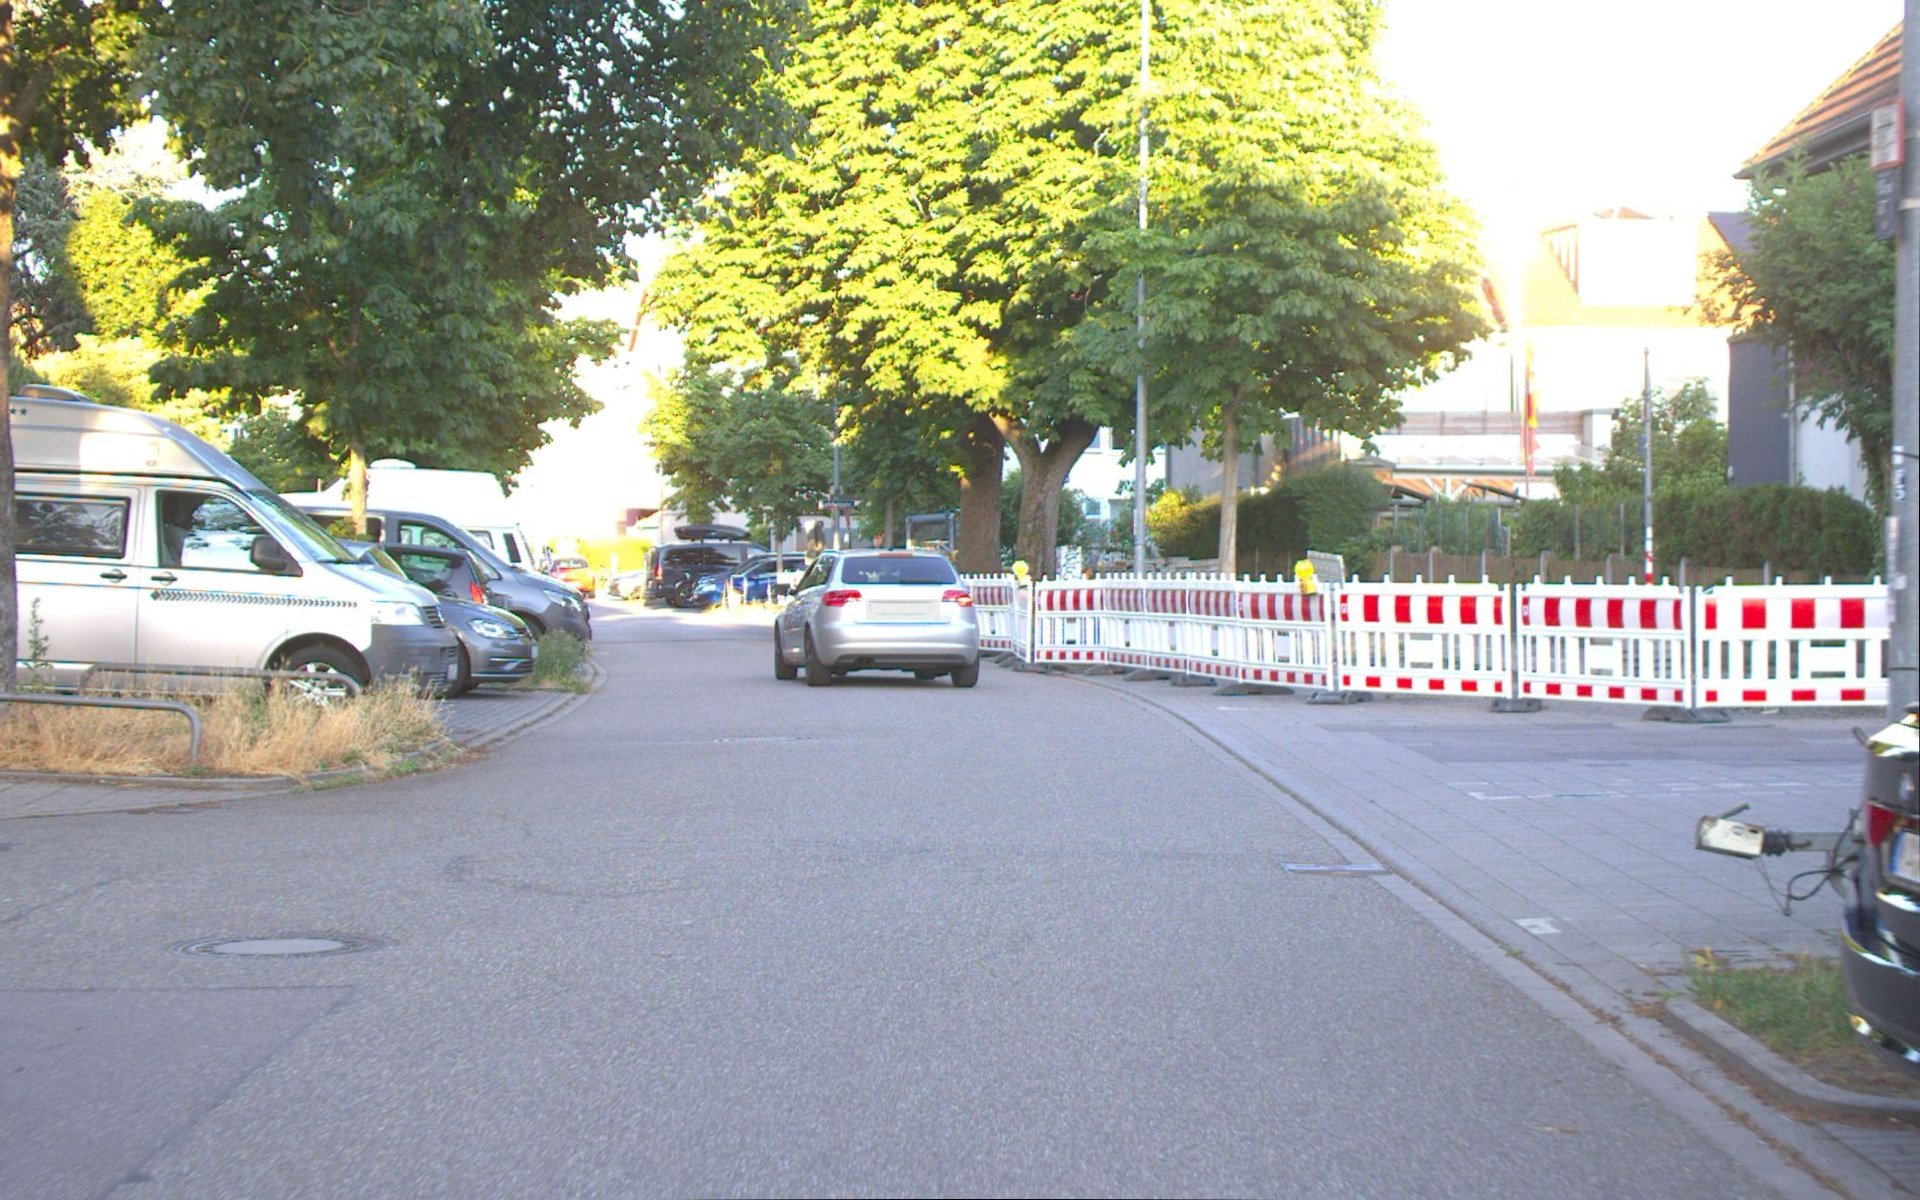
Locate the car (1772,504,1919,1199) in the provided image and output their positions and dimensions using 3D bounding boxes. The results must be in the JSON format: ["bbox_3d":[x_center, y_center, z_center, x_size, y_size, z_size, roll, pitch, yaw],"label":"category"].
[{"bbox_3d":[4.205,0.563,7.524,4.427,1.494,1.773,1,1,1],"label":"car"}]

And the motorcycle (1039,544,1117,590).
[{"bbox_3d":[2.899,-0.805,84.210,1.840,1.102,0.581,0,1,-24],"label":"motorcycle"}]

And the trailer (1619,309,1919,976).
[{"bbox_3d":[4.535,0.144,12.238,3.987,2.180,2.000,1,1,1],"label":"trailer"}]

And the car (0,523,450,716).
[{"bbox_3d":[-6.475,0.158,30.015,3.803,1.517,1.653,2,0,-3],"label":"car"}]

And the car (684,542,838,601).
[{"bbox_3d":[-5.632,-0.806,97.185,3.986,1.645,1.765,0,1,-19],"label":"car"}]

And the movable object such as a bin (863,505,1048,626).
[{"bbox_3d":[-0.149,-0.710,70.807,2.627,2.394,5.199,0,1,-14],"label":"movable object such as a bin"}]

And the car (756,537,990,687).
[{"bbox_3d":[-0.971,0.099,36.075,1.807,1.483,4.001,0,1,-11],"label":"car"}]

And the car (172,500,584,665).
[{"bbox_3d":[-6.799,-0.208,40.558,4.672,1.867,2.000,0,1,-7],"label":"car"}]

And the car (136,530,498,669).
[{"bbox_3d":[-7.046,-0.009,37.947,3.768,1.434,1.656,1,0,-5],"label":"car"}]

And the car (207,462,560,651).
[{"bbox_3d":[-7.586,-0.570,45.623,4.501,2.422,2.000,0,1,-6],"label":"car"}]

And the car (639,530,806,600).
[{"bbox_3d":[-7.046,-1.021,101.761,4.555,2.016,2.102,0,1,-17],"label":"car"}]

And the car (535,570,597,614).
[{"bbox_3d":[-13.658,-0.293,119.117,1.729,1.478,3.558,0,1,-13],"label":"car"}]

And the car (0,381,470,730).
[{"bbox_3d":[-6.303,-0.351,26.504,4.731,2.561,2.000,1,1,1],"label":"car"}]

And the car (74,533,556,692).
[{"bbox_3d":[-6.051,0.106,32.565,4.244,1.389,1.684,1,0,-1],"label":"car"}]
